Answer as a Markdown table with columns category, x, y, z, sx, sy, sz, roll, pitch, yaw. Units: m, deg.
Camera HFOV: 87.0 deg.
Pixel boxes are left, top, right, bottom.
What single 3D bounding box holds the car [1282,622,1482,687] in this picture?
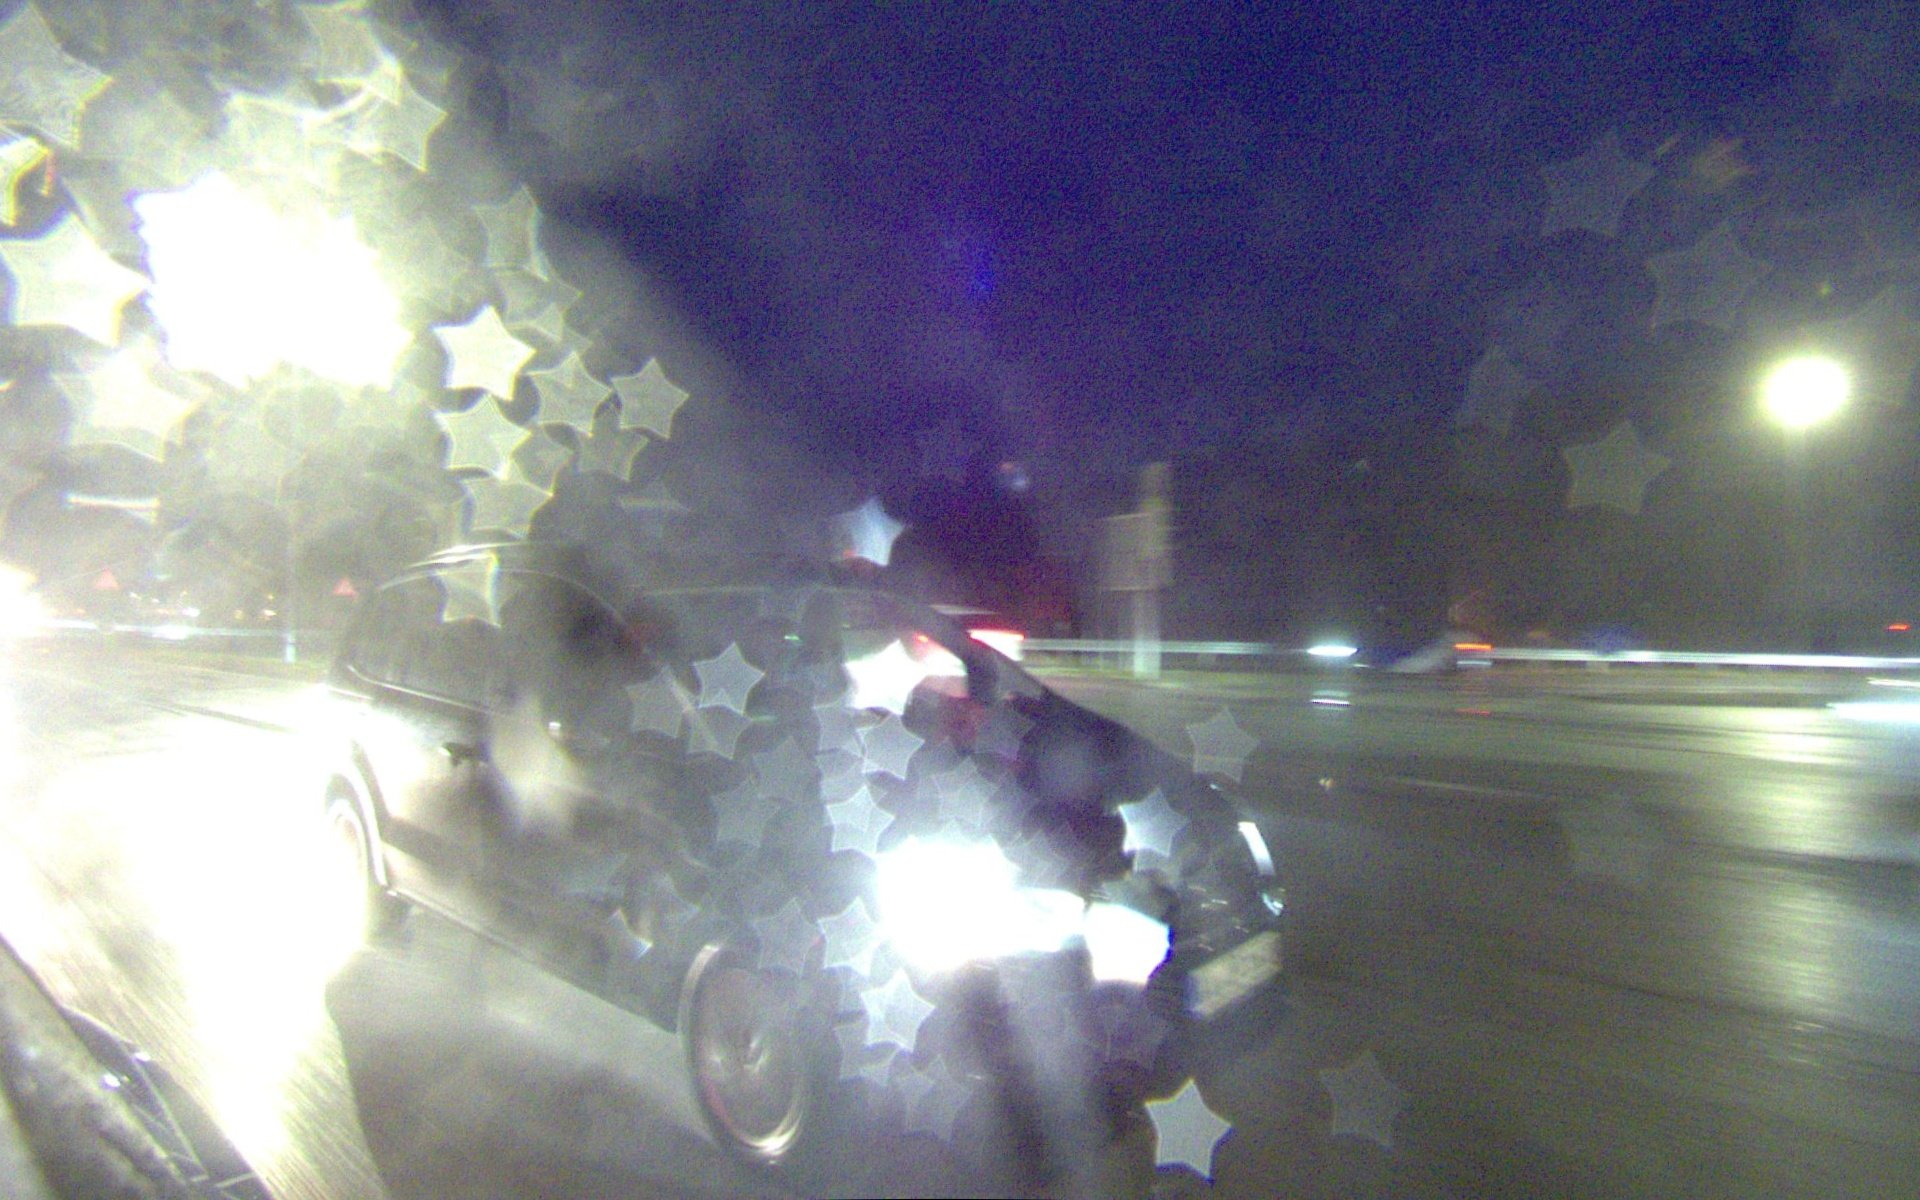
| category | x | y | z | sx | sy | sz | roll | pitch | yaw |
| --- | --- | --- | --- | --- | --- | --- | --- | --- | --- |
| car | 10.558 | 1.350 | 25.546 | 4.072 | 1.460 | 2.184 | 1 | 0 | -6 |

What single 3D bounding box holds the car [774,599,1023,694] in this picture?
| category | x | y | z | sx | sy | sz | roll | pitch | yaw |
| --- | --- | --- | --- | --- | --- | --- | --- | --- | --- |
| car | -1.285 | 0.803 | 19.230 | 4.912 | 1.583 | 1.773 | 0 | -1 | 41 |

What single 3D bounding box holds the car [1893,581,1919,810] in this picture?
| category | x | y | z | sx | sy | sz | roll | pitch | yaw |
| --- | --- | --- | --- | --- | --- | --- | --- | --- | --- |
| car | 8.811 | 0.655 | 6.063 | 4.713 | 1.583 | 1.680 | 0 | -1 | 44 |

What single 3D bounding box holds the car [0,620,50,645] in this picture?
| category | x | y | z | sx | sy | sz | roll | pitch | yaw |
| --- | --- | --- | --- | --- | --- | --- | --- | --- | --- |
| car | -62.532 | 2.181 | 67.675 | 4.368 | 1.510 | 1.638 | 0 | -4 | 38 |

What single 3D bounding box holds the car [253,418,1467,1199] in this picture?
| category | x | y | z | sx | sy | sz | roll | pitch | yaw |
| --- | --- | --- | --- | --- | --- | --- | --- | --- | --- |
| car | -0.913 | 0.590 | 4.008 | 4.935 | 1.717 | 1.890 | -1 | -2 | 40 |
